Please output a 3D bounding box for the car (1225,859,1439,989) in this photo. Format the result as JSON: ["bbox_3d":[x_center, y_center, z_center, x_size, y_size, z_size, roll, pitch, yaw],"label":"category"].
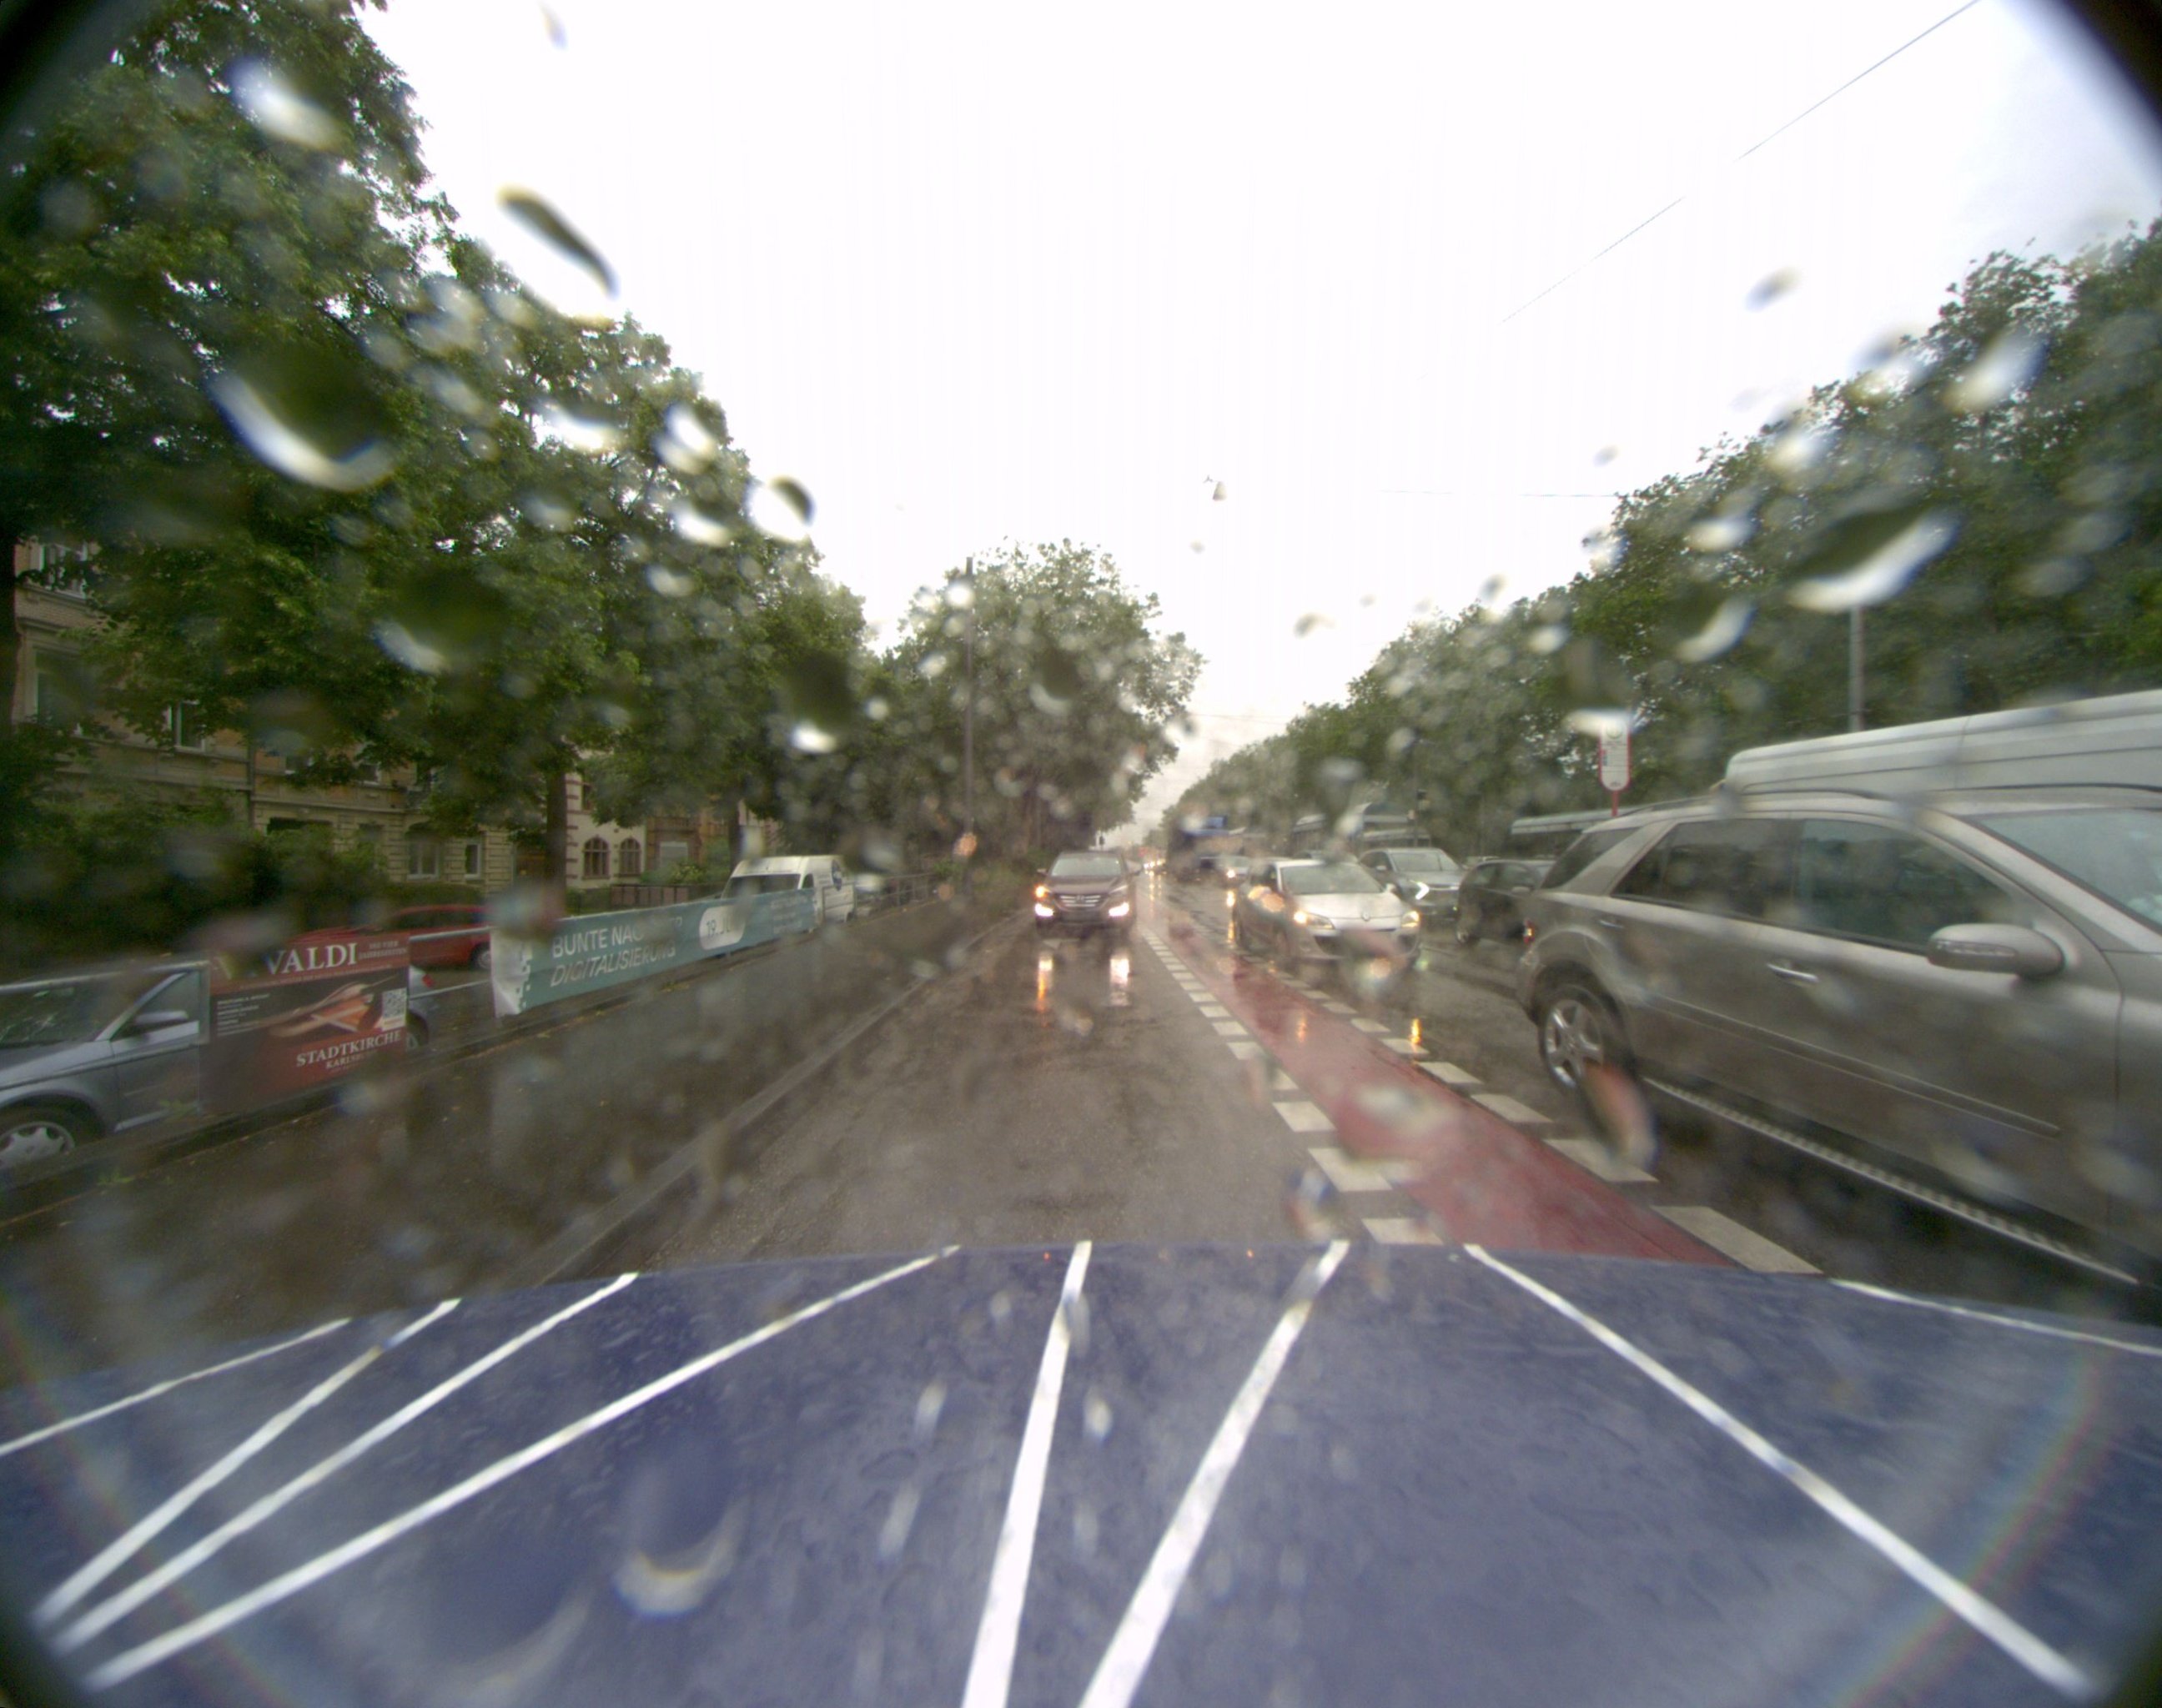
[{"bbox_3d":[3.405,0.859,11.158,1.772,1.469,4.000,-2,0,0],"label":"car"}]

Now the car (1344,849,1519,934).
[{"bbox_3d":[7.459,0.705,16.733,1.919,1.614,4.454,0,0,2],"label":"car"}]

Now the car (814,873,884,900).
[{"bbox_3d":[-15.365,2.122,50.335,4.007,1.557,1.995,-2,1,-34],"label":"car"}]

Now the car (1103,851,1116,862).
[{"bbox_3d":[4.262,0.382,113.829,1.899,1.569,3.999,0,0,0],"label":"car"}]

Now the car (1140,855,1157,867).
[{"bbox_3d":[7.080,0.693,80.063,1.467,1.185,3.615,-2,0,0],"label":"car"}]

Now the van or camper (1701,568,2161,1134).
[{"bbox_3d":[7.042,-0.019,4.333,2.164,3.123,5.850,0,0,-1],"label":"van or camper"}]

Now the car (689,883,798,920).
[{"bbox_3d":[-14.862,2.050,33.518,4.269,1.372,1.687,-1,1,-27],"label":"car"}]

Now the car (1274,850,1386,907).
[{"bbox_3d":[7.565,0.680,23.599,1.999,1.611,4.319,-1,0,-1],"label":"car"}]

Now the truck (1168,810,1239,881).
[{"bbox_3d":[7.265,-0.494,46.424,2.545,3.866,9.810,1,0,-1],"label":"truck"}]

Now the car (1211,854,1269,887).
[{"bbox_3d":[7.580,0.751,36.600,1.895,1.478,4.077,-1,0,-1],"label":"car"}]

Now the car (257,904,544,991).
[{"bbox_3d":[-14.629,1.949,16.757,4.439,1.444,1.894,0,-1,-32],"label":"car"}]

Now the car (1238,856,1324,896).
[{"bbox_3d":[7.523,0.782,29.077,1.999,1.386,4.606,0,0,-1],"label":"car"}]

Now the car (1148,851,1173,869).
[{"bbox_3d":[7.614,0.554,73.343,1.998,1.568,4.000,-2,0,1],"label":"car"}]

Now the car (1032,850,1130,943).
[{"bbox_3d":[0.071,0.766,15.750,1.756,1.657,3.678,-2,0,2],"label":"car"}]

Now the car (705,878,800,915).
[{"bbox_3d":[-15.529,1.986,36.018,4.005,1.496,1.655,-1,1,-24],"label":"car"}]

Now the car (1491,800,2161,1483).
[{"bbox_3d":[3.772,0.707,2.835,2.030,1.760,4.462,-2,0,0],"label":"car"}]

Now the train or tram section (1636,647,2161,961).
[{"bbox_3d":[13.820,-0.627,9.693,3.522,3.492,13.658,-2,0,1],"label":"train or tram section"}]

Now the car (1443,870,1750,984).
[{"bbox_3d":[6.739,0.860,10.535,1.467,1.111,4.087,-2,0,0],"label":"car"}]

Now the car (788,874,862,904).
[{"bbox_3d":[-15.724,2.121,46.682,4.006,1.599,1.821,-2,1,-31],"label":"car"}]

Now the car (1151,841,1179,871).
[{"bbox_3d":[7.231,0.149,65.796,1.998,2.412,5.727,-2,0,3],"label":"car"}]

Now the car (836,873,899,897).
[{"bbox_3d":[-15.541,2.238,55.374,4.007,1.455,1.908,-2,1,-34],"label":"car"}]

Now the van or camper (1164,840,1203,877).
[{"bbox_3d":[7.631,0.324,57.128,1.998,2.555,6.431,-2,0,0],"label":"van or camper"}]

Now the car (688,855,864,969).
[{"bbox_3d":[-7.705,1.309,20.114,2.214,2.406,6.157,-3,0,-2],"label":"car"}]

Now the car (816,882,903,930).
[{"bbox_3d":[-7.821,1.798,27.274,1.972,1.345,4.383,-3,0,-3],"label":"car"}]

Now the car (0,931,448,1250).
[{"bbox_3d":[-7.238,1.577,5.583,1.736,1.530,4.074,-2,0,-1],"label":"car"}]
